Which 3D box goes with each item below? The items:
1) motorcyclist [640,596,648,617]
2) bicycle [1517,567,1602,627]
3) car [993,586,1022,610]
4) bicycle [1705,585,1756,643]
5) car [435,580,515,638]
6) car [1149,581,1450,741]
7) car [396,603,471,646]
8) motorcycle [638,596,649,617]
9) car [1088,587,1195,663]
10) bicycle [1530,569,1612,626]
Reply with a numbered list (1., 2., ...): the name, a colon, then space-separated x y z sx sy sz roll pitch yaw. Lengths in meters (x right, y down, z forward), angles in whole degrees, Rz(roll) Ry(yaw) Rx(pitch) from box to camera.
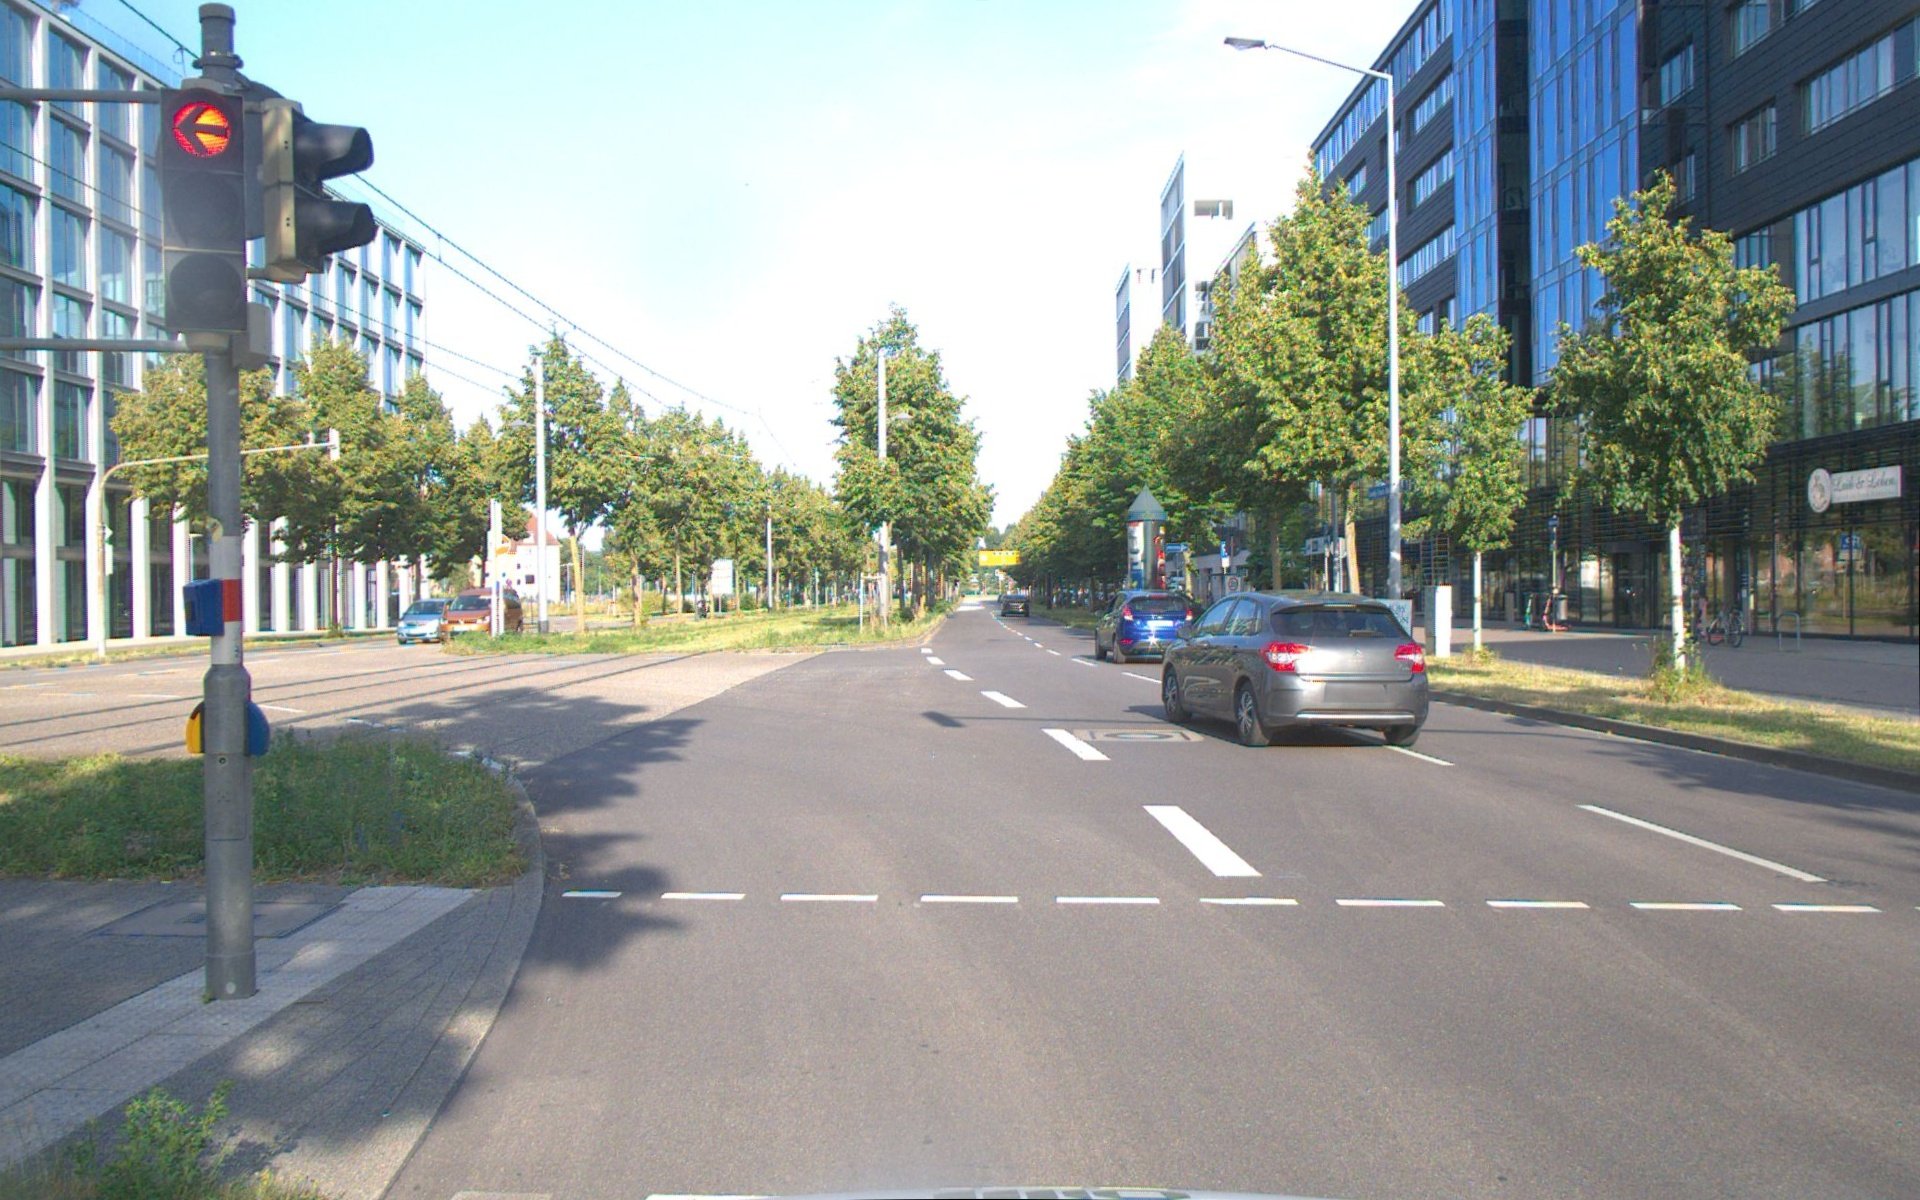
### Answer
1. motorcyclist: -24.359 0.487 127.451 0.476 1.592 0.455 1 0 -1
2. bicycle: 19.510 -0.095 53.843 2.510 1.890 0.570 1 0 10
3. car: 3.137 -0.110 109.185 1.821 1.551 3.785 1 0 0
4. bicycle: 18.606 0.334 39.967 0.365 1.370 1.894 1 0 1
5. car: -15.880 0.274 54.360 1.650 1.806 3.880 1 0 -3
6. car: 3.345 0.558 17.094 1.663 1.449 4.029 1 0 -10
7. car: -19.103 0.861 60.146 1.606 1.468 3.954 1 0 -3
8. motorcycle: -24.361 0.498 127.450 0.464 1.557 1.992 1 0 -1
9. car: 3.713 0.470 34.395 1.529 1.449 3.904 1 1 -4
10. bicycle: 19.498 -0.077 52.794 2.383 1.776 0.554 1 0 10
